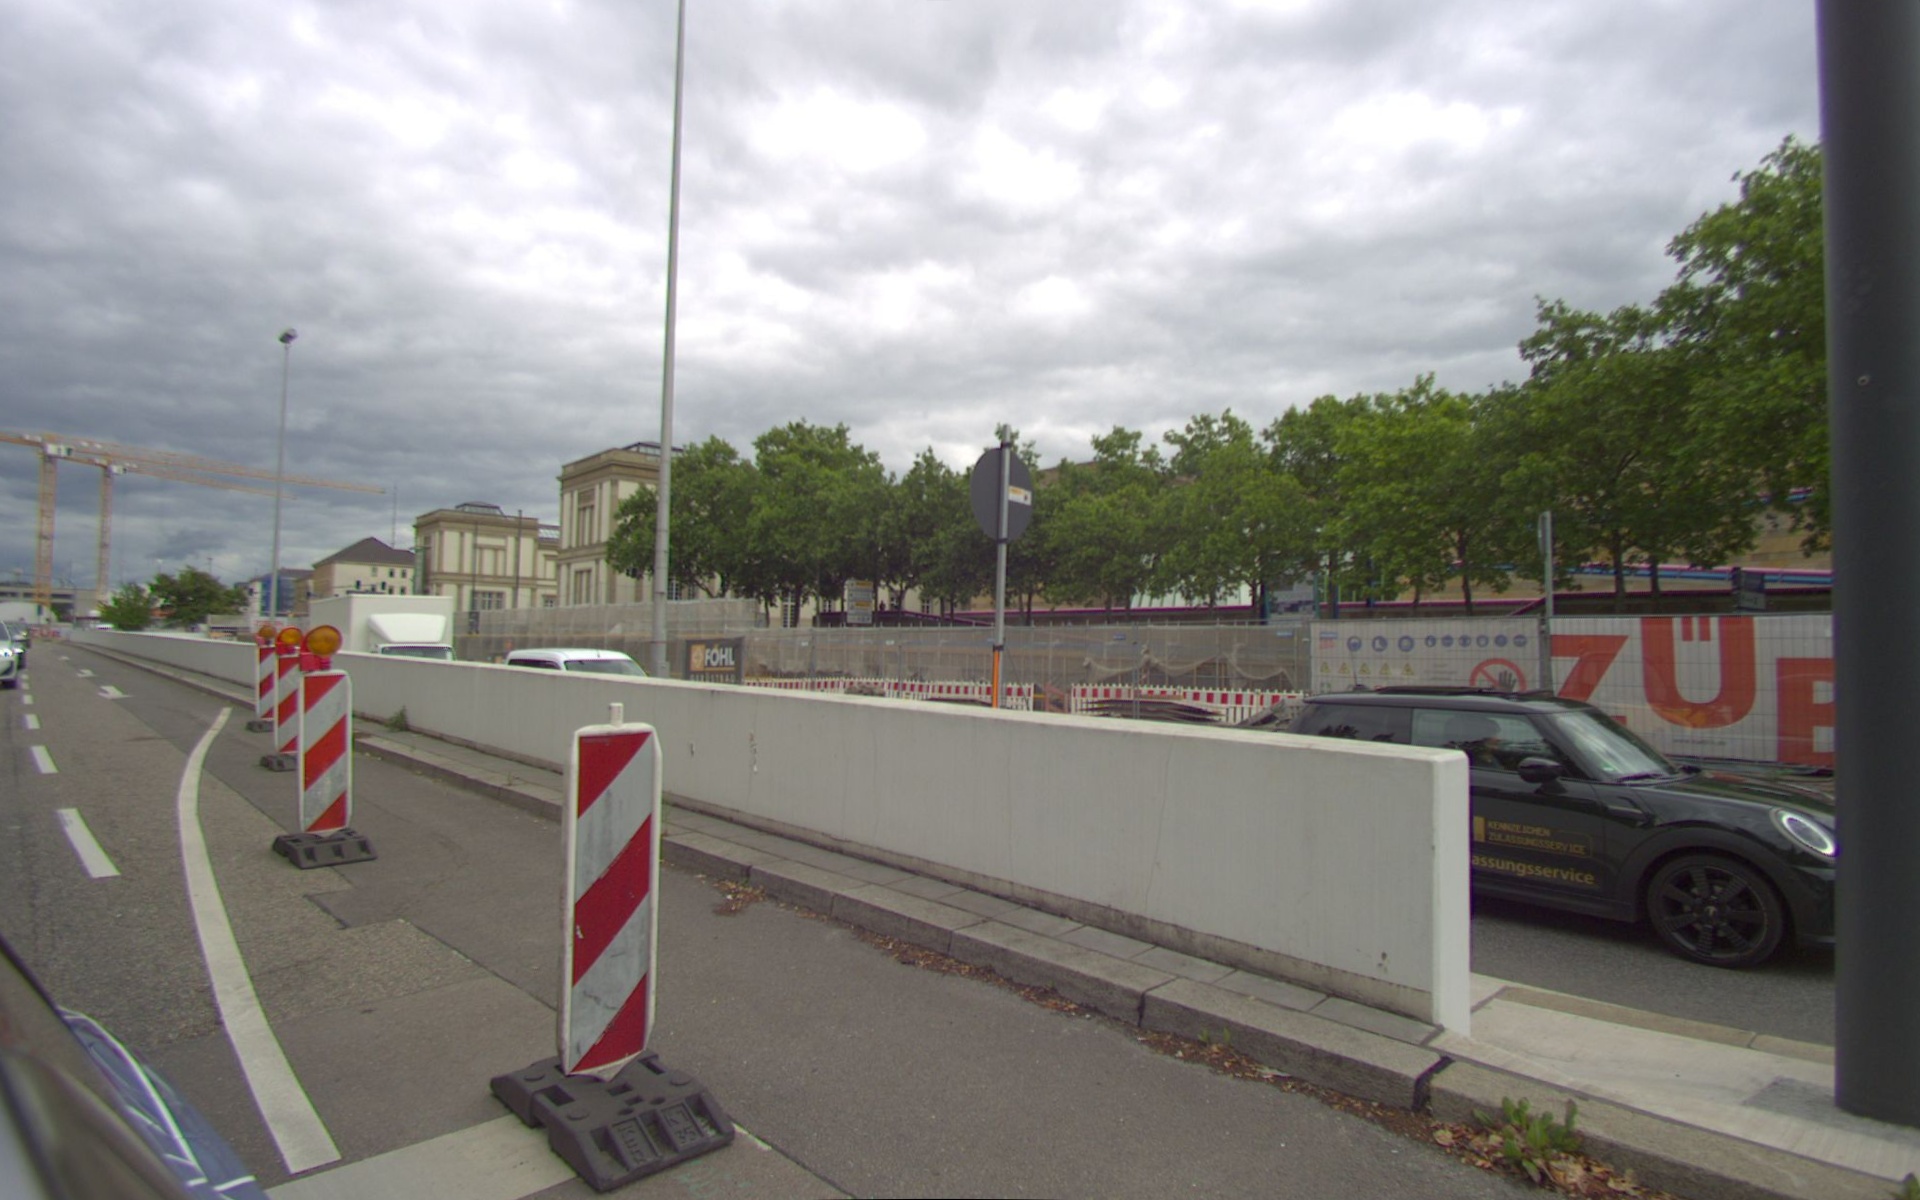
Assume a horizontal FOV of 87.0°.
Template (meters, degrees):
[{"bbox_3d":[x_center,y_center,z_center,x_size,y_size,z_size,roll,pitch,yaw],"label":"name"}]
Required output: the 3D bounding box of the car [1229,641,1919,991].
[{"bbox_3d":[4.133,1.155,6.931,1.970,1.654,4.004,4,-4,-43],"label":"car"}]

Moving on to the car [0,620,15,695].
[{"bbox_3d":[-22.639,1.292,22.771,3.713,1.617,1.788,-2,-1,43],"label":"car"}]

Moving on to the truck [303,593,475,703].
[{"bbox_3d":[-16.260,1.434,28.596,2.572,2.733,6.679,4,-6,-44],"label":"truck"}]

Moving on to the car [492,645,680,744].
[{"bbox_3d":[-7.326,1.757,19.624,1.970,1.654,4.004,4,-4,-43],"label":"car"}]
